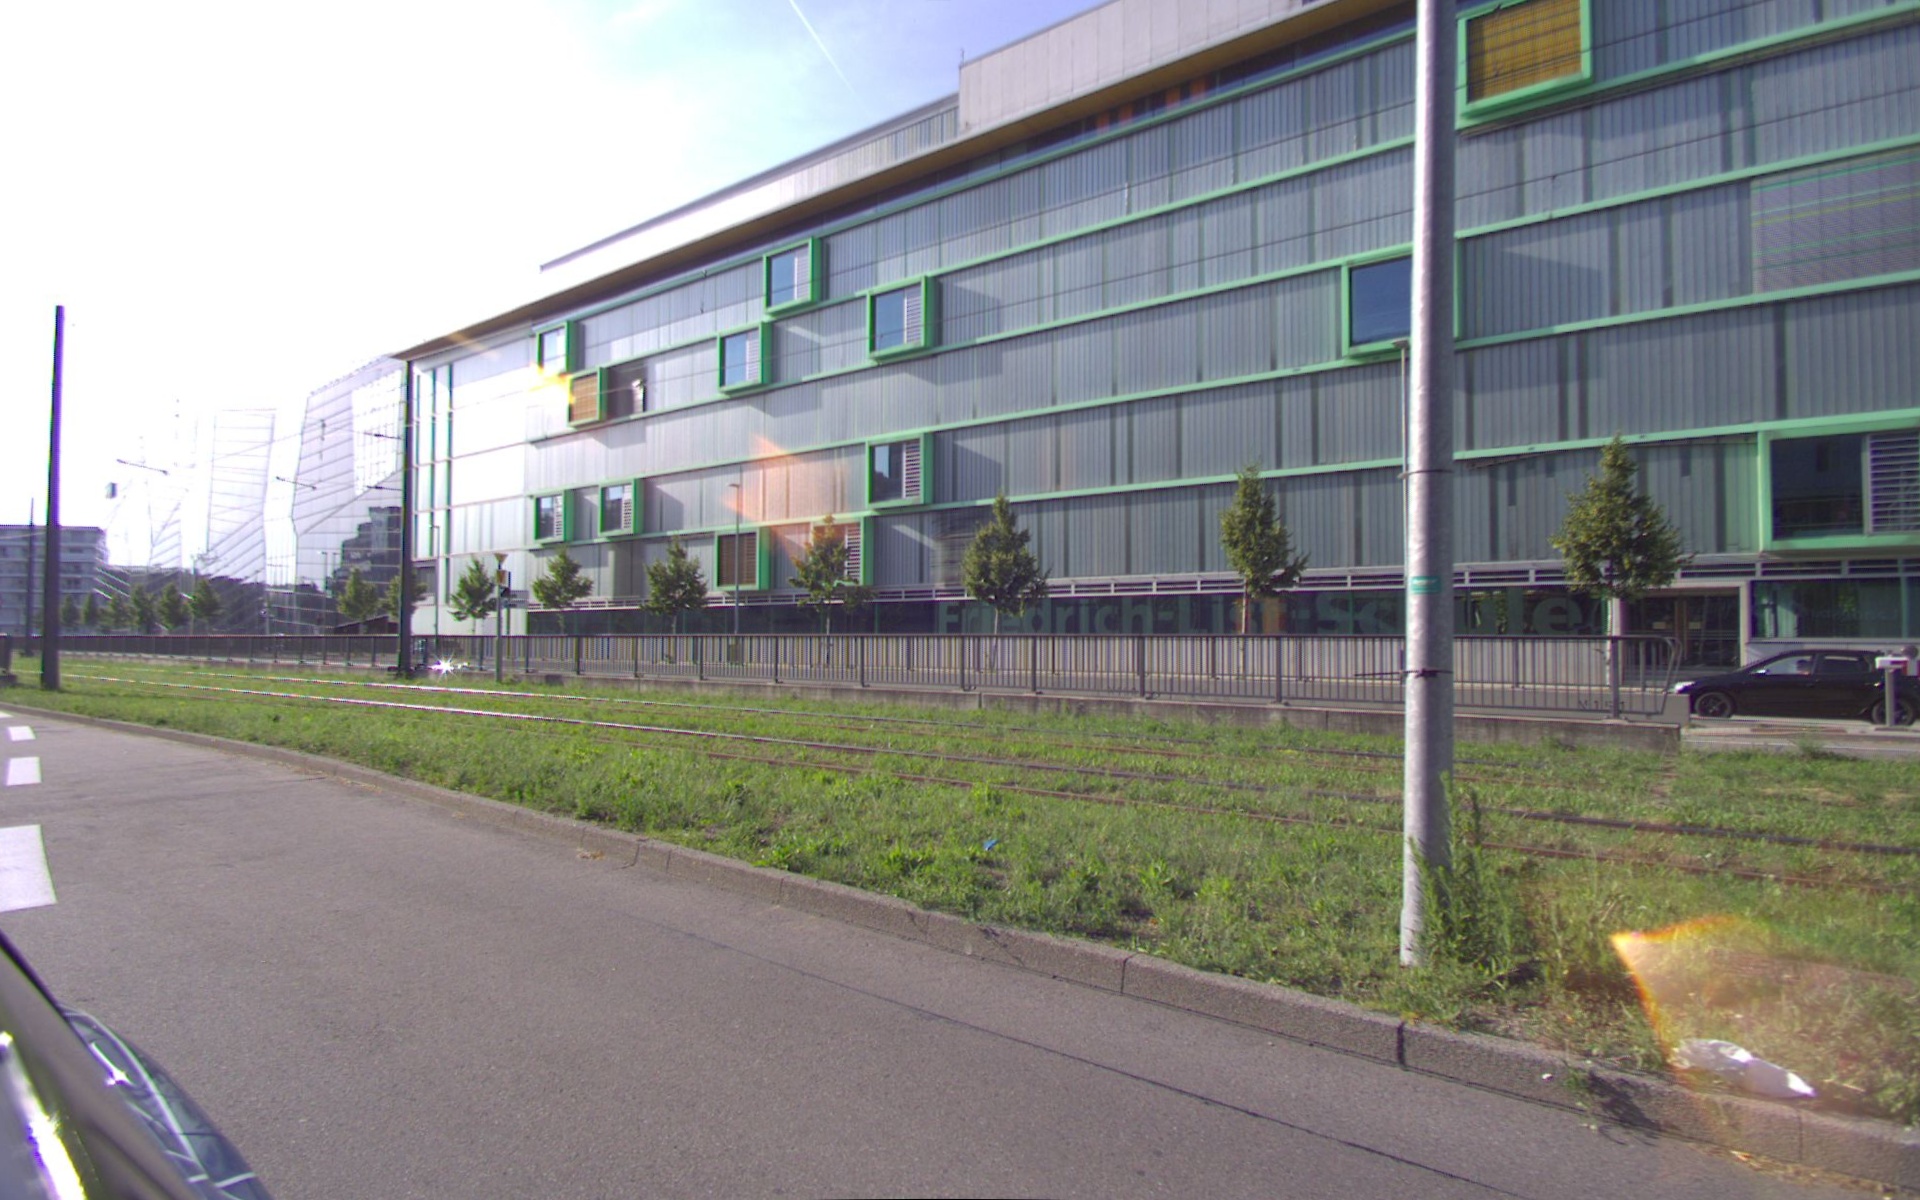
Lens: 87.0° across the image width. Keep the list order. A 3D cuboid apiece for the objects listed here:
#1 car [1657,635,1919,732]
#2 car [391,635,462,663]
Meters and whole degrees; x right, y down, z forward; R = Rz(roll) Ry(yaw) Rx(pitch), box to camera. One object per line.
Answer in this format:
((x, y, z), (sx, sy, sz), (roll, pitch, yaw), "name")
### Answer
((16.260, 1.520, 19.385), (4.718, 1.700, 1.975), (-2, -3, 37), "car")
((-27.701, 2.528, 52.507), (4.178, 1.433, 1.645), (-2, -3, 37), "car")
